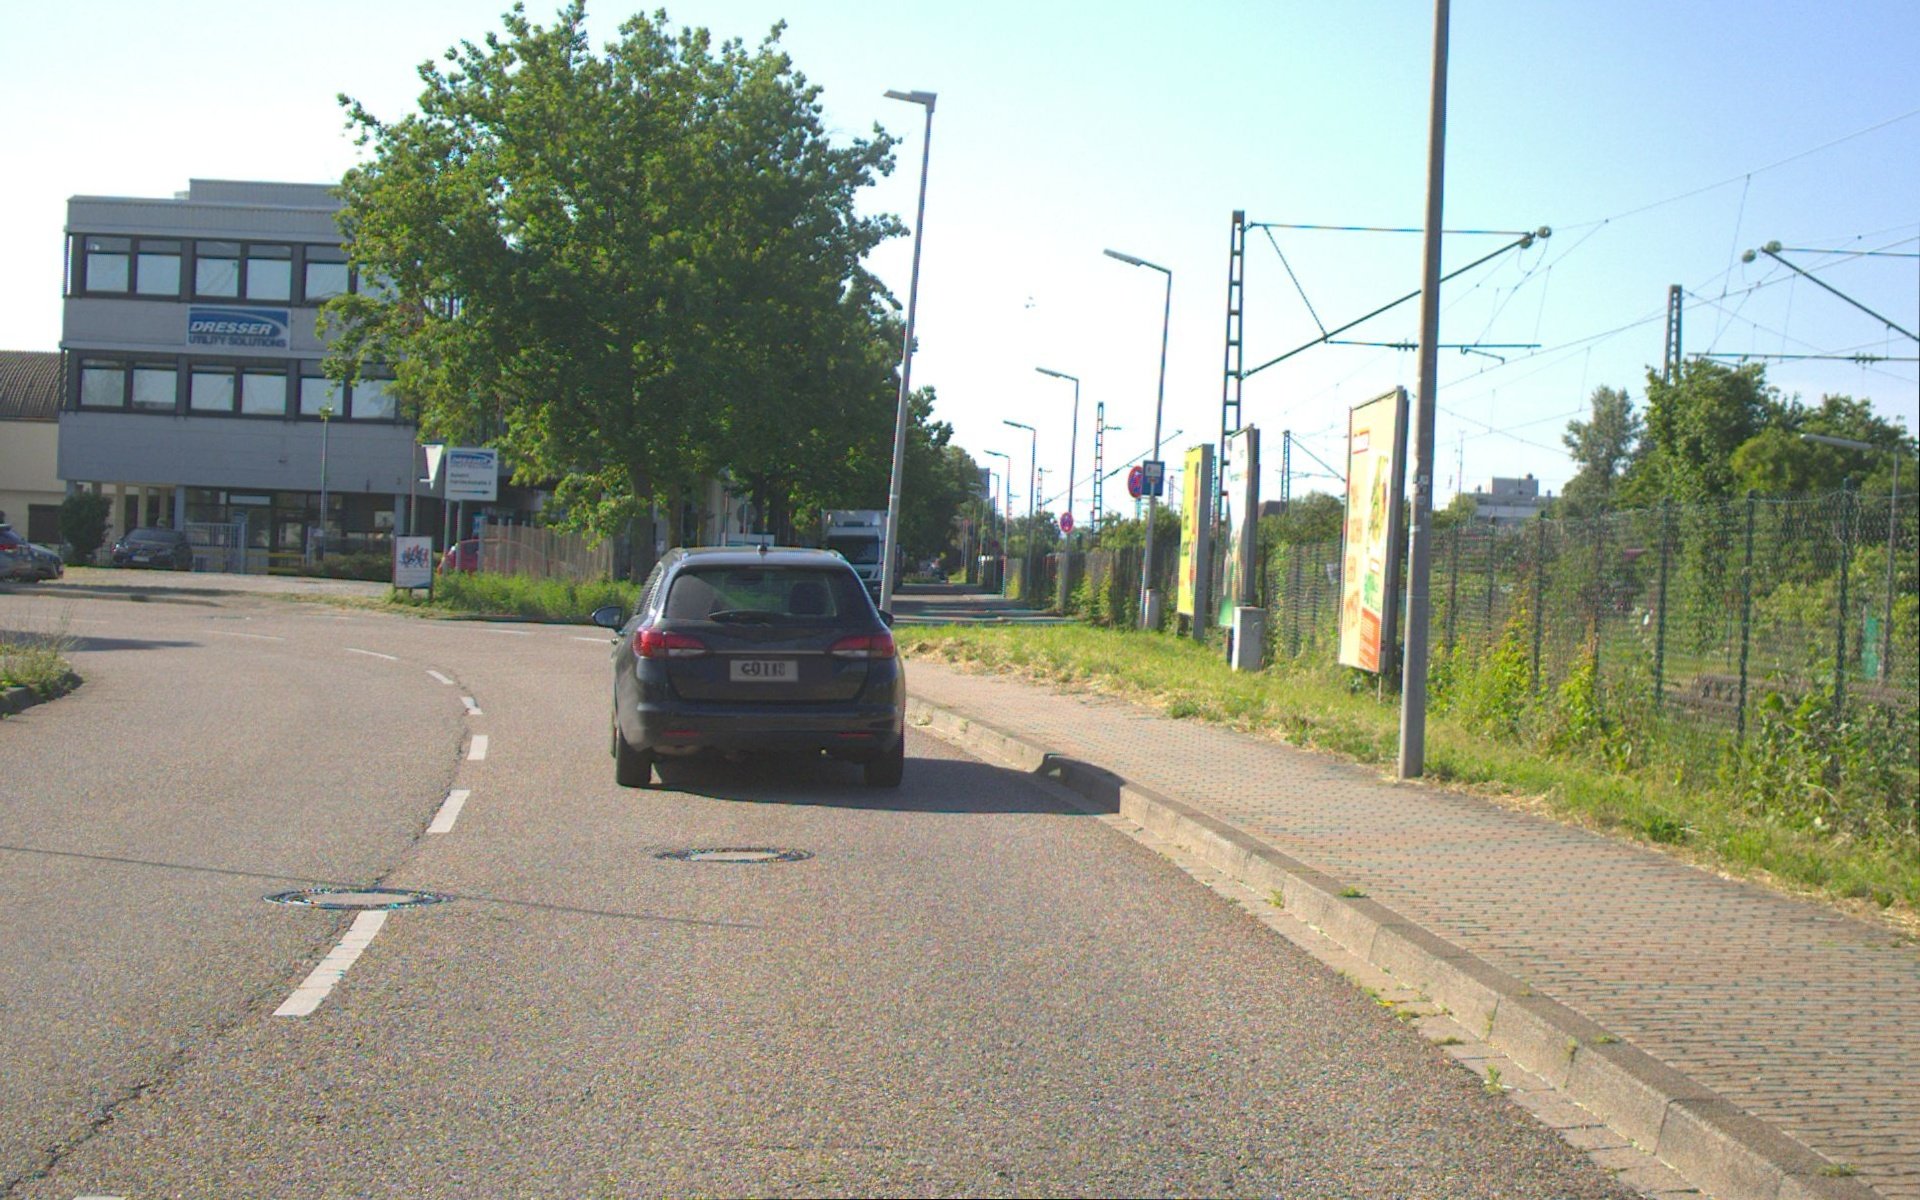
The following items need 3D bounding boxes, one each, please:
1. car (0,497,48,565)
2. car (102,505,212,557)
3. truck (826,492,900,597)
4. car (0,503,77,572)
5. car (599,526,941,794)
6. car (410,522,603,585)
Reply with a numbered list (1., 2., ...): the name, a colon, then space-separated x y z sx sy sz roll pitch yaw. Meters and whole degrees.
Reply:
1. car: -22.582 -1.596 74.771 4.910 1.421 2.000 3 1 -1
2. car: -24.784 -2.144 106.274 1.994 1.479 4.927 3 2 2
3. truck: -3.989 -2.234 139.111 2.613 3.872 13.533 3 1 -2
4. car: -22.606 -1.483 77.375 4.910 1.479 2.000 3 1 -1
5. car: -1.323 0.302 22.167 1.942 1.483 4.566 1 2 -6
6. car: -12.477 -1.292 94.801 4.911 1.479 2.000 3 2 4
